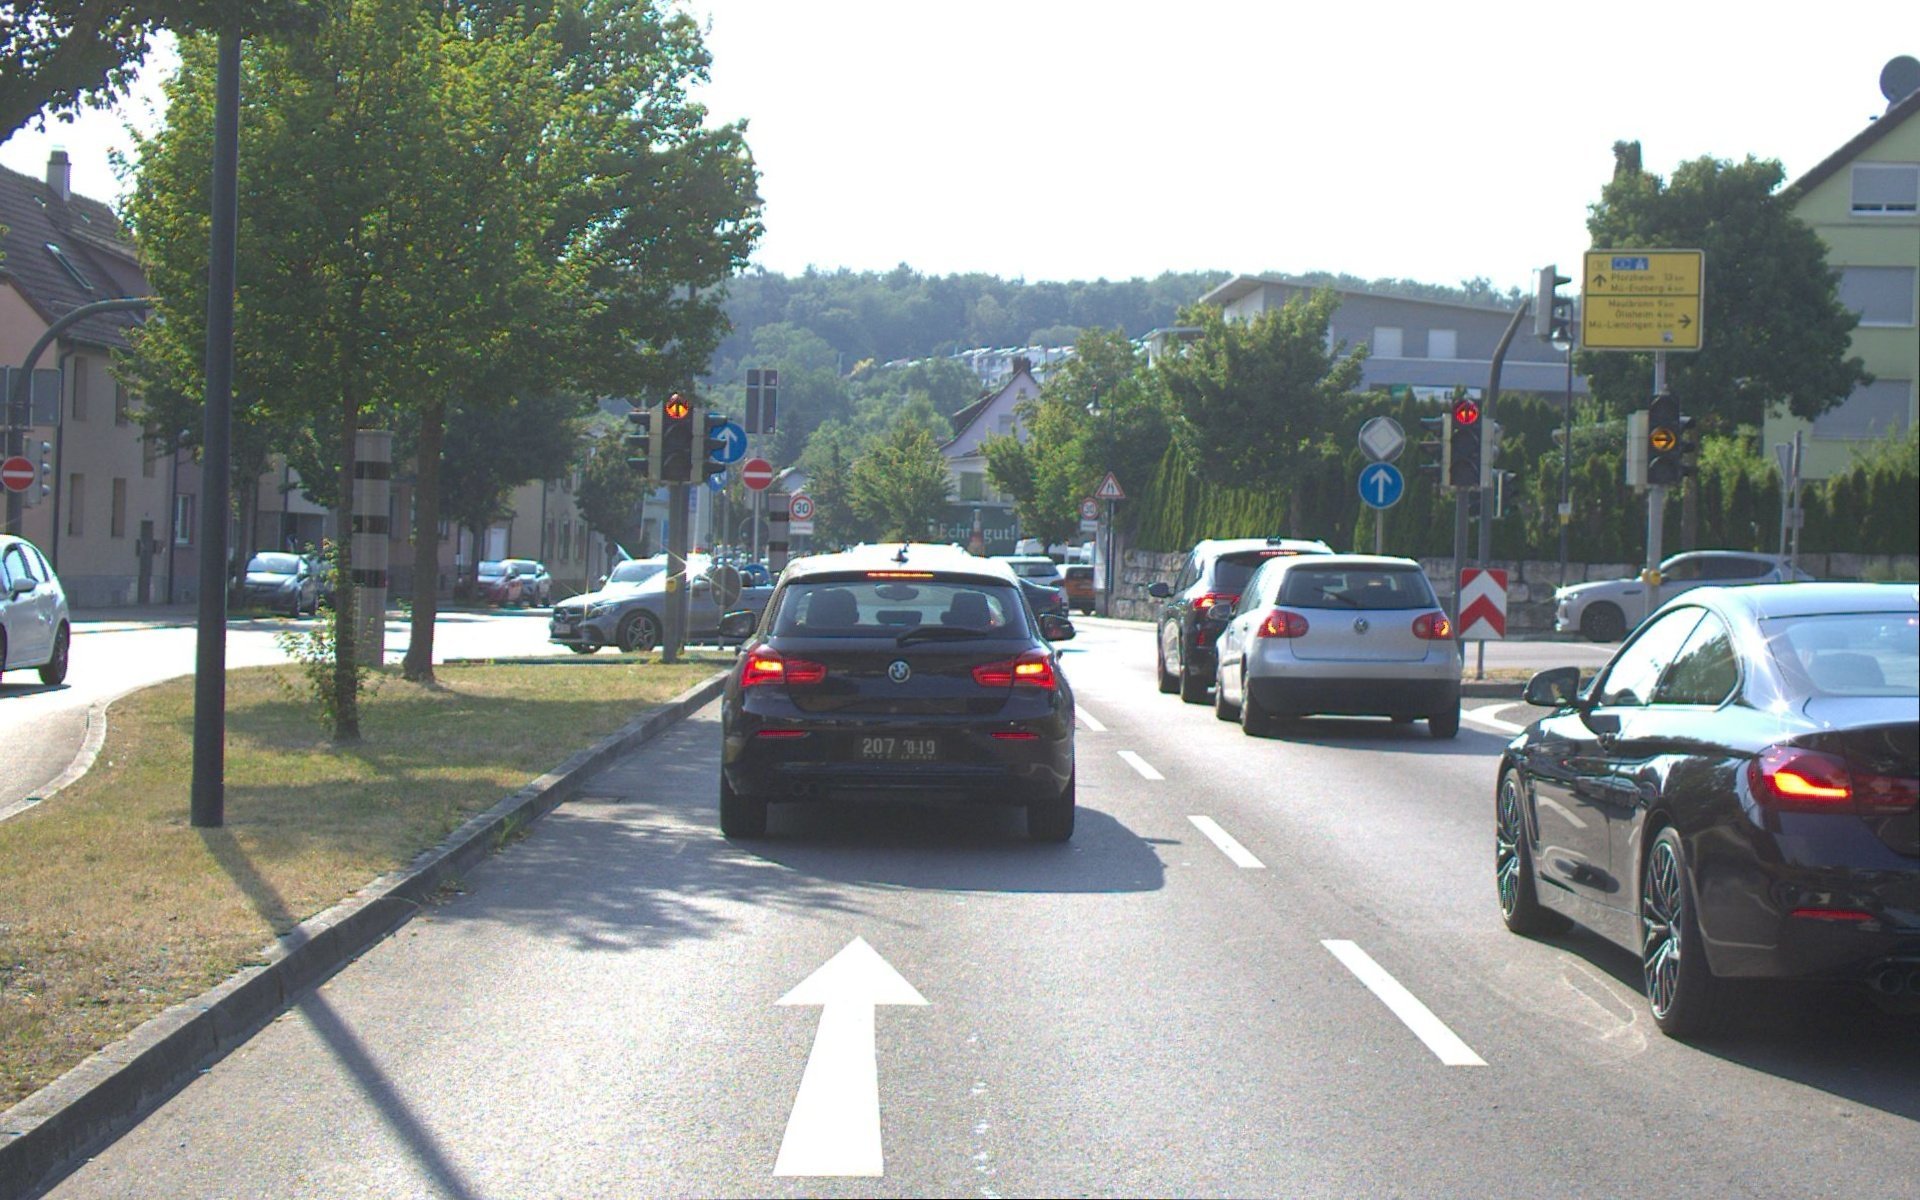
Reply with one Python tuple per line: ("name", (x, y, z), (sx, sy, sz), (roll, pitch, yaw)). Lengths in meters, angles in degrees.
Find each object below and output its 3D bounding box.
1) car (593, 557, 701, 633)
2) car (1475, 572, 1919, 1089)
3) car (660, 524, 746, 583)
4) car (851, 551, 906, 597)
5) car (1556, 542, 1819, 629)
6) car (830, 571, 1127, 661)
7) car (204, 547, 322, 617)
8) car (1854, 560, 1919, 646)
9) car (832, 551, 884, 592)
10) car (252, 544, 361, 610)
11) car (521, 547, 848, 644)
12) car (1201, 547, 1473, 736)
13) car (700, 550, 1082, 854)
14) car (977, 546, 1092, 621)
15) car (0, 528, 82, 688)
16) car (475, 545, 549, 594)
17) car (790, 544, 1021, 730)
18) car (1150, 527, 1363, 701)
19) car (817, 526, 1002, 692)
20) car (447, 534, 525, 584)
("car", (-6.336, -0.117, 70.033), (1.766, 1.453, 4.000), (1, 1, 1))
("car", (2.976, 0.627, 11.625), (1.816, 1.384, 4.347), (1, 1, 0))
("car", (-6.092, -1.110, 81.880), (1.693, 1.348, 4.000), (1, 1, 1))
("car", (-2.959, -0.949, 125.039), (1.924, 1.590, 4.000), (1, 1, -1))
("car", (13.380, -0.273, 63.435), (4.646, 1.480, 1.867), (1, 1, 10))
("car", (0.318, 0.278, 57.970), (4.628, 1.417, 1.850), (1, 1, -23))
("car", (-16.617, -0.457, 82.143), (1.924, 1.590, 4.000), (1, 1, 1))
("car", (17.097, 0.070, 56.843), (4.175, 1.382, 1.651), (1, 1, -13))
("car", (-4.109, -1.155, 138.924), (1.924, 1.590, 4.000), (1, 1, 1))
("car", (-16.583, -0.598, 87.410), (1.924, 1.590, 4.000), (1, 1, 1))
("car", (-4.034, -0.061, 50.599), (4.464, 1.345, 1.786), (1, 1, -33))
("car", (3.092, 0.288, 28.968), (1.816, 1.441, 4.347), (1, 1, 0))
("car", (-0.315, 0.454, 18.496), (1.790, 1.410, 4.347), (1, 1, 0))
("car", (1.689, -0.400, 79.727), (1.890, 1.696, 4.525), (0, 1, -9))
("car", (-9.881, 0.036, 33.299), (1.801, 1.492, 3.956), (1, 1, -1))
("car", (-15.321, -1.056, 117.730), (1.924, 1.590, 4.000), (1, 1, 1))
("car", (-0.420, 0.262, 29.455), (1.816, 1.446, 4.242), (1, 1, 0))
("car", (2.993, 0.102, 35.508), (1.816, 1.660, 4.347), (1, 1, 0))
("car", (-0.492, 0.057, 36.524), (1.816, 1.635, 4.242), (1, 1, 0))
("car", (-15.447, -1.344, 112.222), (1.924, 1.590, 4.000), (1, 1, 1))
